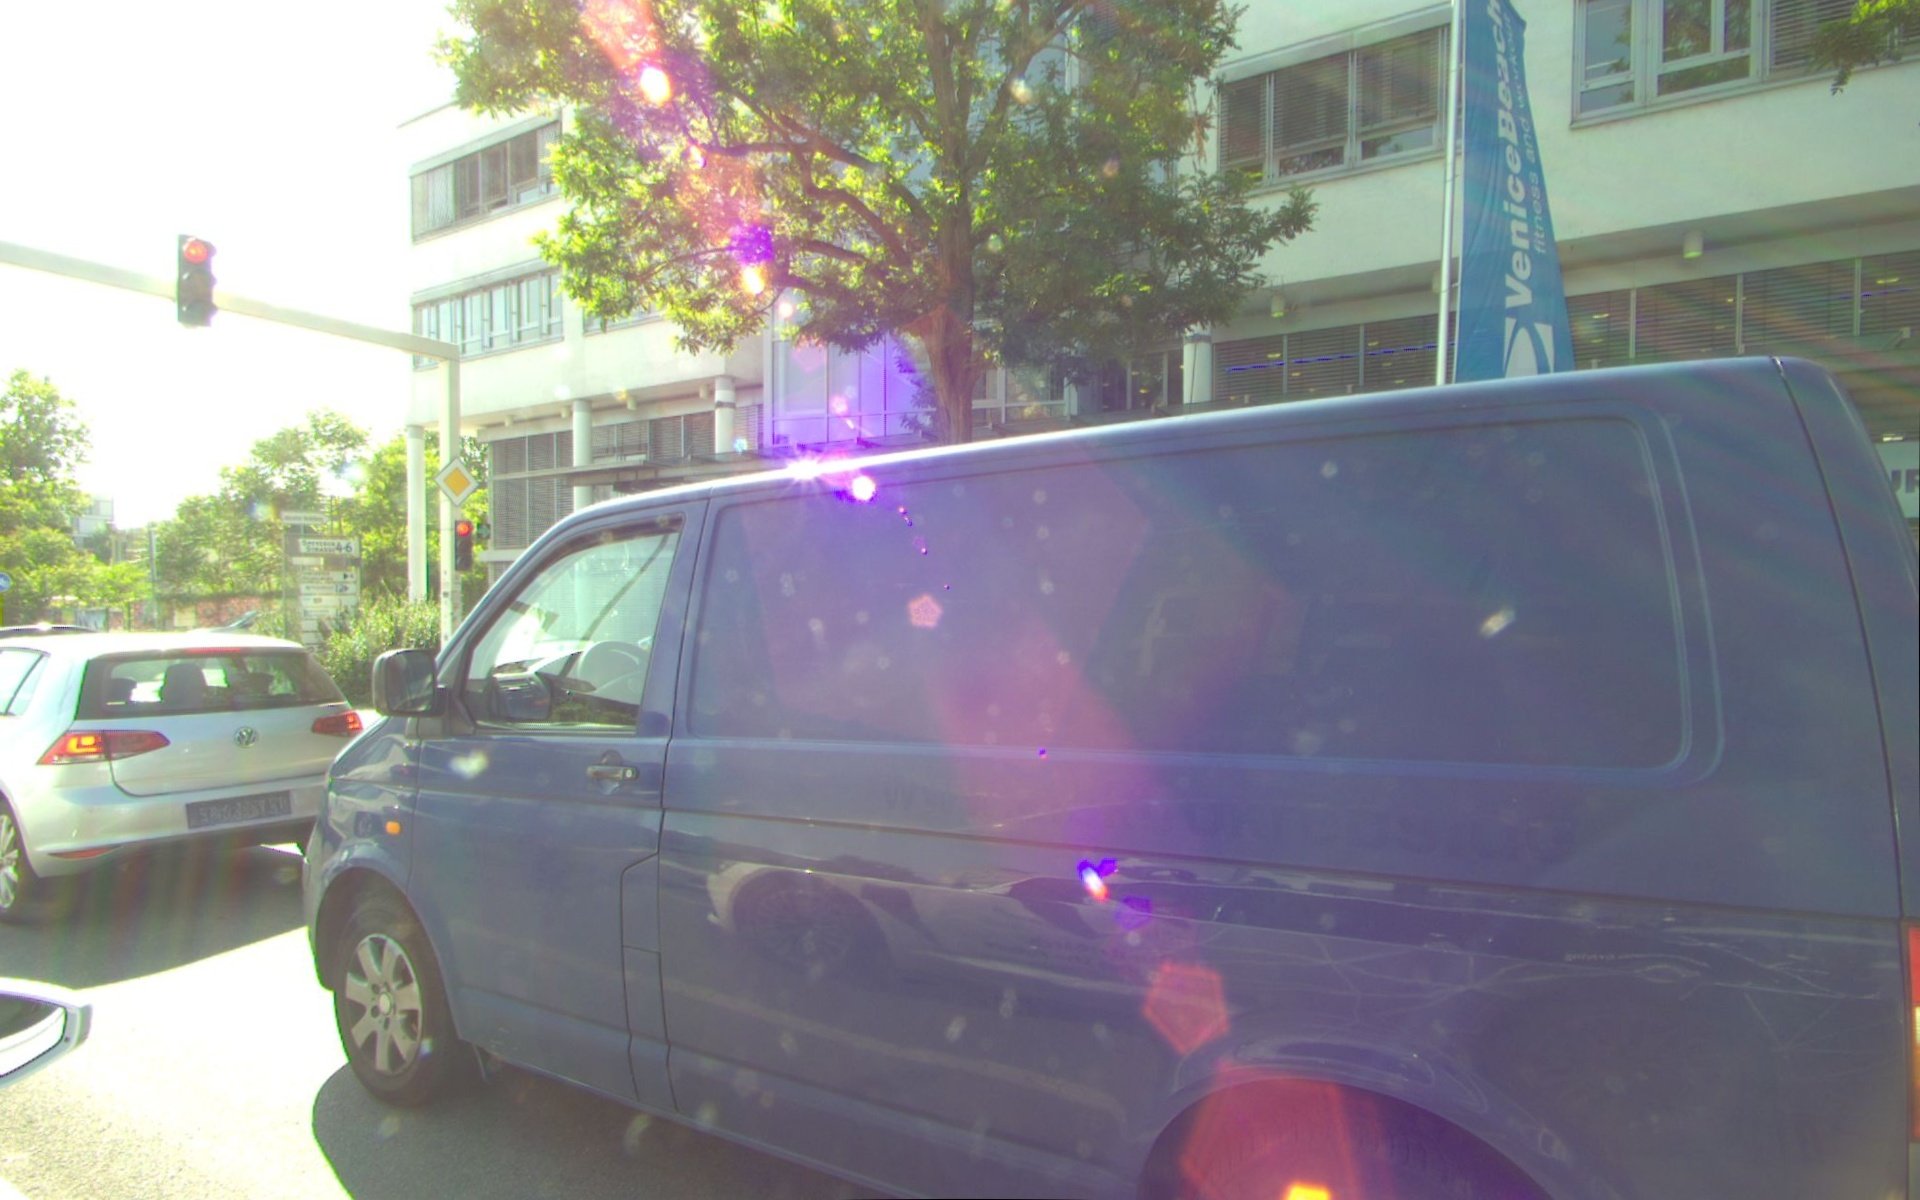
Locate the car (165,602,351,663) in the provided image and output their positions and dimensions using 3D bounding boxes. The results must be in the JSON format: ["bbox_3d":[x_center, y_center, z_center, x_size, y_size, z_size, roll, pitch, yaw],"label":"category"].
[{"bbox_3d":[-21.781,0.954,31.205,1.978,1.572,4.392,-1,2,43],"label":"car"}]

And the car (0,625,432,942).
[{"bbox_3d":[-5.451,0.920,6.458,3.941,1.448,1.805,-1,-1,30],"label":"car"}]

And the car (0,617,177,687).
[{"bbox_3d":[-21.108,1.168,23.384,1.967,1.461,3.987,-1,0,24],"label":"car"}]

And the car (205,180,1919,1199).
[{"bbox_3d":[-0.178,0.541,3.206,4.821,1.973,1.989,-1,-1,32],"label":"car"}]

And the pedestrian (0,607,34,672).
[{"bbox_3d":[-30.184,1.235,31.713,1.023,2.040,1.025,0,0,32],"label":"pedestrian"}]
